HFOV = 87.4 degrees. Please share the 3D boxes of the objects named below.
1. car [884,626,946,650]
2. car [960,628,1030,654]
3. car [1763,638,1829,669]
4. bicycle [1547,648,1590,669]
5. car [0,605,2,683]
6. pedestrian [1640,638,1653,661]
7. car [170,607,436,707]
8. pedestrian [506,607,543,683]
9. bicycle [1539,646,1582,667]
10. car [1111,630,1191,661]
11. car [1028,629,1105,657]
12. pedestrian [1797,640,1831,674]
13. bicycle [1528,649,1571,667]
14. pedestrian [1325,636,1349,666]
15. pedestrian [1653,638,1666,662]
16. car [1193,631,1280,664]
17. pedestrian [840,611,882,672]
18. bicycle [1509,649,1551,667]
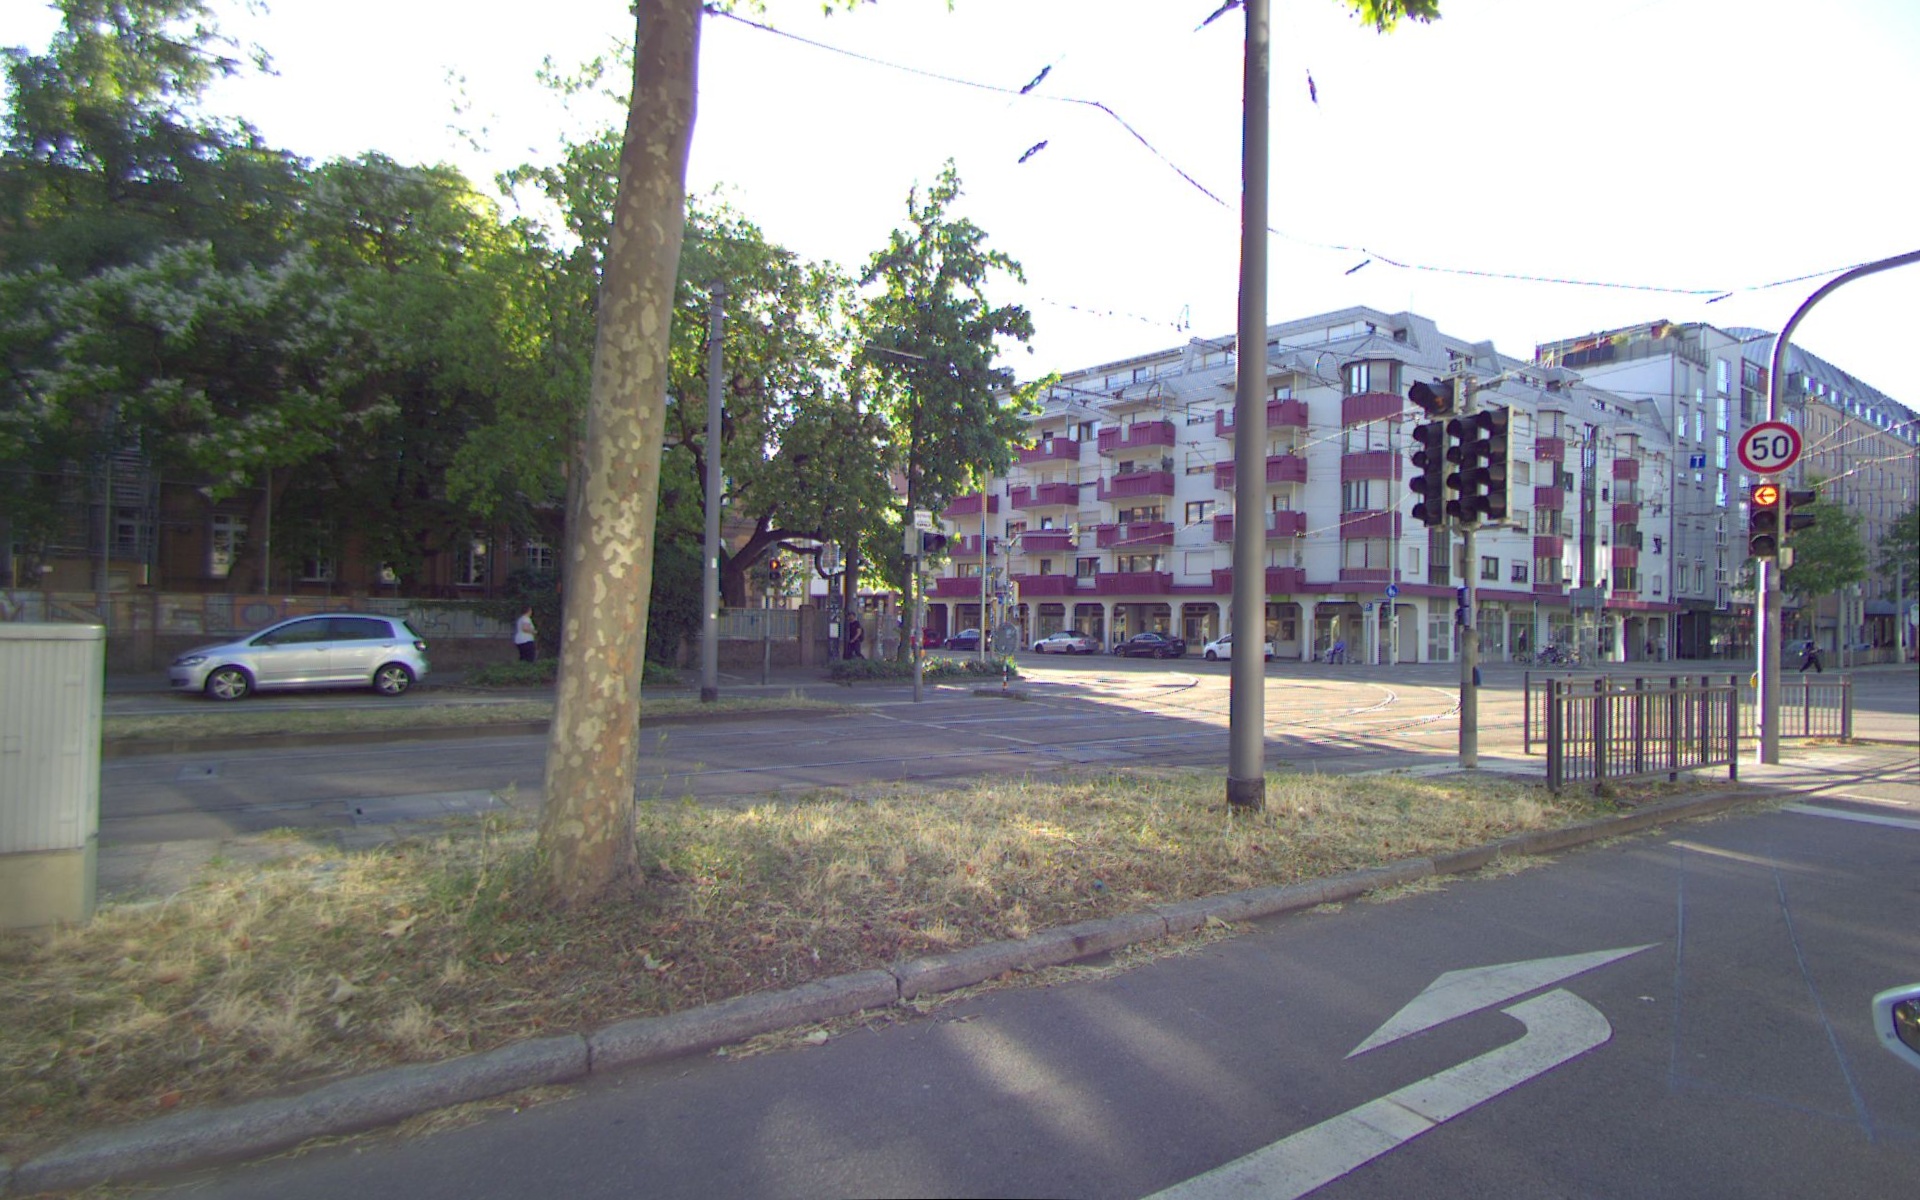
[{"bbox_3d":[-3.265,2.697,71.830,1.986,1.576,4.528,2,-2,-42],"label":"car"},{"bbox_3d":[2.249,2.670,65.842,1.986,1.576,4.528,2,-2,-42],"label":"car"},{"bbox_3d":[48.900,3.117,58.732,4.218,1.695,1.942,2,-2,-35],"label":"car"},{"bbox_3d":[31.465,3.009,51.973,0.548,0.998,1.830,2,-2,-36],"label":"bicycle"},{"bbox_3d":[-17.638,0.827,15.117,4.418,1.522,2.065,2,1,-38],"label":"car"},{"bbox_3d":[44.996,3.237,65.829,0.582,1.514,0.530,2,-2,-37],"label":"pedestrian"},{"bbox_3d":[-12.541,1.044,19.292,4.062,1.641,2.066,2,1,-38],"label":"car"},{"bbox_3d":[-9.997,1.021,23.064,0.626,1.687,0.563,2,1,-37],"label":"pedestrian"},{"bbox_3d":[30.910,2.899,51.726,0.548,0.998,1.830,2,-2,-36],"label":"bicycle"},{"bbox_3d":[10.662,2.529,56.192,1.986,1.576,4.072,2,-2,-42],"label":"car"},{"bbox_3d":[6.402,2.570,60.791,1.986,1.576,4.528,2,-2,-42],"label":"car"},{"bbox_3d":[39.984,2.664,47.046,0.686,1.564,1.040,2,-1,-31],"label":"pedestrian"},{"bbox_3d":[29.894,2.949,50.974,0.547,0.865,1.833,2,-2,-31],"label":"bicycle"},{"bbox_3d":[18.594,2.510,49.520,0.831,1.402,0.848,2,-2,-45],"label":"pedestrian"},{"bbox_3d":[45.532,3.251,65.374,0.582,1.514,0.530,2,-2,-37],"label":"pedestrian"},{"bbox_3d":[14.381,2.441,52.337,1.986,1.576,3.950,2,-2,-42],"label":"car"},{"bbox_3d":[-2.967,1.244,30.198,1.010,1.775,0.728,2,-2,-37],"label":"pedestrian"},{"bbox_3d":[28.977,2.940,51.056,0.547,0.865,1.833,2,-2,-31],"label":"bicycle"}]
